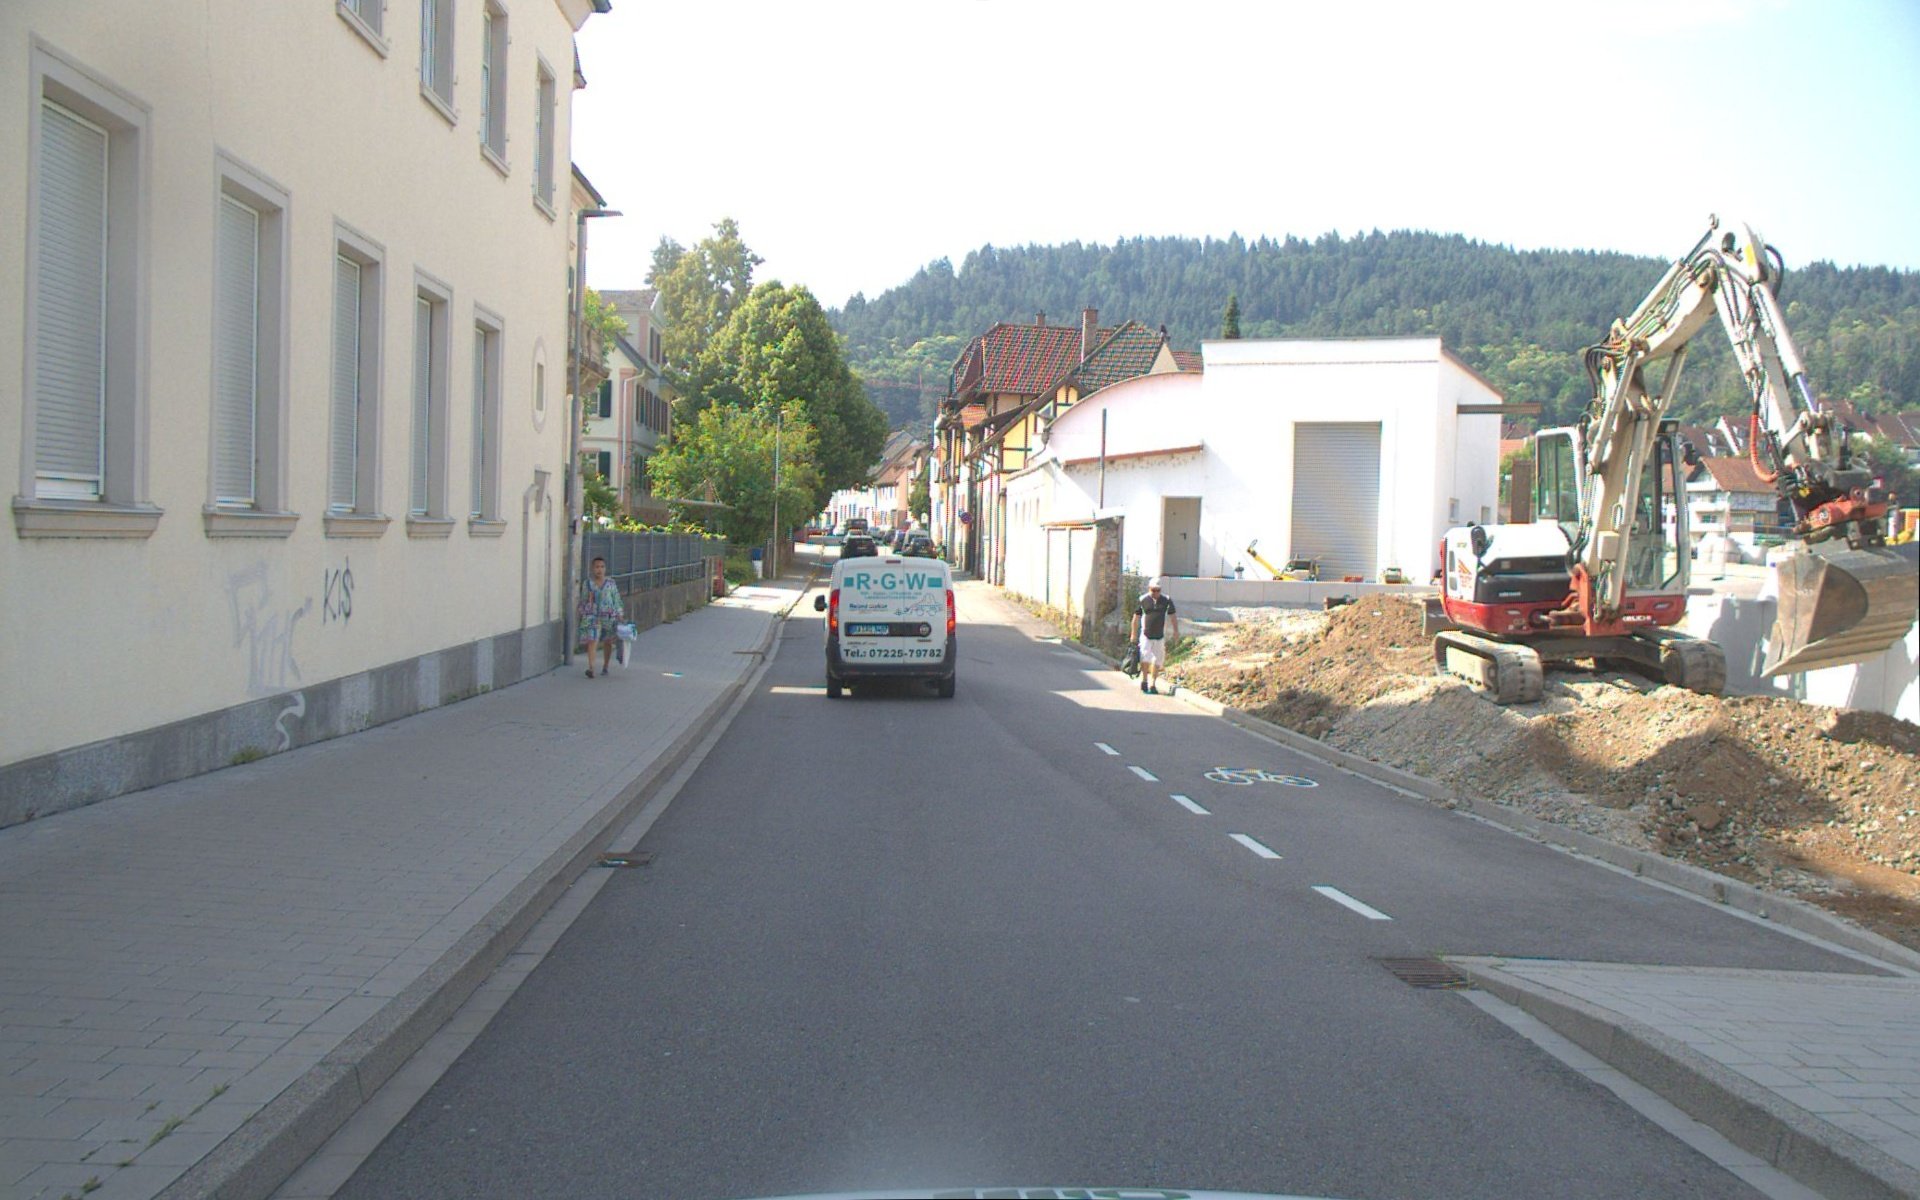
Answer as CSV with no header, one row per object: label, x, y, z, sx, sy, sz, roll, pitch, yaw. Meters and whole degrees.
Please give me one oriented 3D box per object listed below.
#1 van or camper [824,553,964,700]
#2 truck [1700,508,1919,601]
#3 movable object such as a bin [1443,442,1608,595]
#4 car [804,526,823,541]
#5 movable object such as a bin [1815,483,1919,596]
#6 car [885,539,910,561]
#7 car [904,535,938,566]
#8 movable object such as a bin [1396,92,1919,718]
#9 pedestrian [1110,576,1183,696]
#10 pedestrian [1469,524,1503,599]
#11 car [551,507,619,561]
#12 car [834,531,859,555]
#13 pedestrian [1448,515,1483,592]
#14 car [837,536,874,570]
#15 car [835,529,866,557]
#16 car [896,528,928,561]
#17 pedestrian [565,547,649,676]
van or camper,-1.023,0.287,23.423,1.792,1.876,4.185,0,2,-5
truck,22.158,-1.199,42.976,5.206,2.305,2.219,1,1,22
movable object such as a bin,15.222,-2.108,44.265,2.799,3.683,5.723,6,3,31
car,-19.272,-8.720,217.656,1.742,1.829,3.985,2,2,-15
movable object such as a bin,22.794,-1.404,38.917,4.518,2.614,1.925,1,1,22
car,-4.709,-3.782,124.639,1.637,1.534,3.996,1,2,-6
car,-2.356,-2.967,98.179,1.775,1.623,3.925,4,3,-4
movable object such as a bin,6.110,-1.317,14.541,2.248,3.919,7.800,4,2,0
pedestrian,2.772,0.527,24.616,0.871,1.712,0.718,4,1,-4
pedestrian,13.802,-1.006,43.369,0.622,1.929,0.607,5,3,27
car,-14.065,-2.503,62.260,1.788,1.802,4.678,5,2,-6
car,-14.086,-7.066,204.666,2.819,2.884,6.118,1,2,-6
pedestrian,12.987,-1.196,42.491,0.620,1.929,0.608,4,2,6
car,-5.667,-2.560,89.133,1.776,1.623,3.924,4,3,-6
car,-7.140,-3.713,107.699,1.776,1.623,3.923,4,3,-6
car,-3.130,-3.636,108.095,1.834,2.048,3.998,3,2,-4
pedestrian,-4.736,0.146,22.252,0.939,1.659,0.757,3,1,-4
